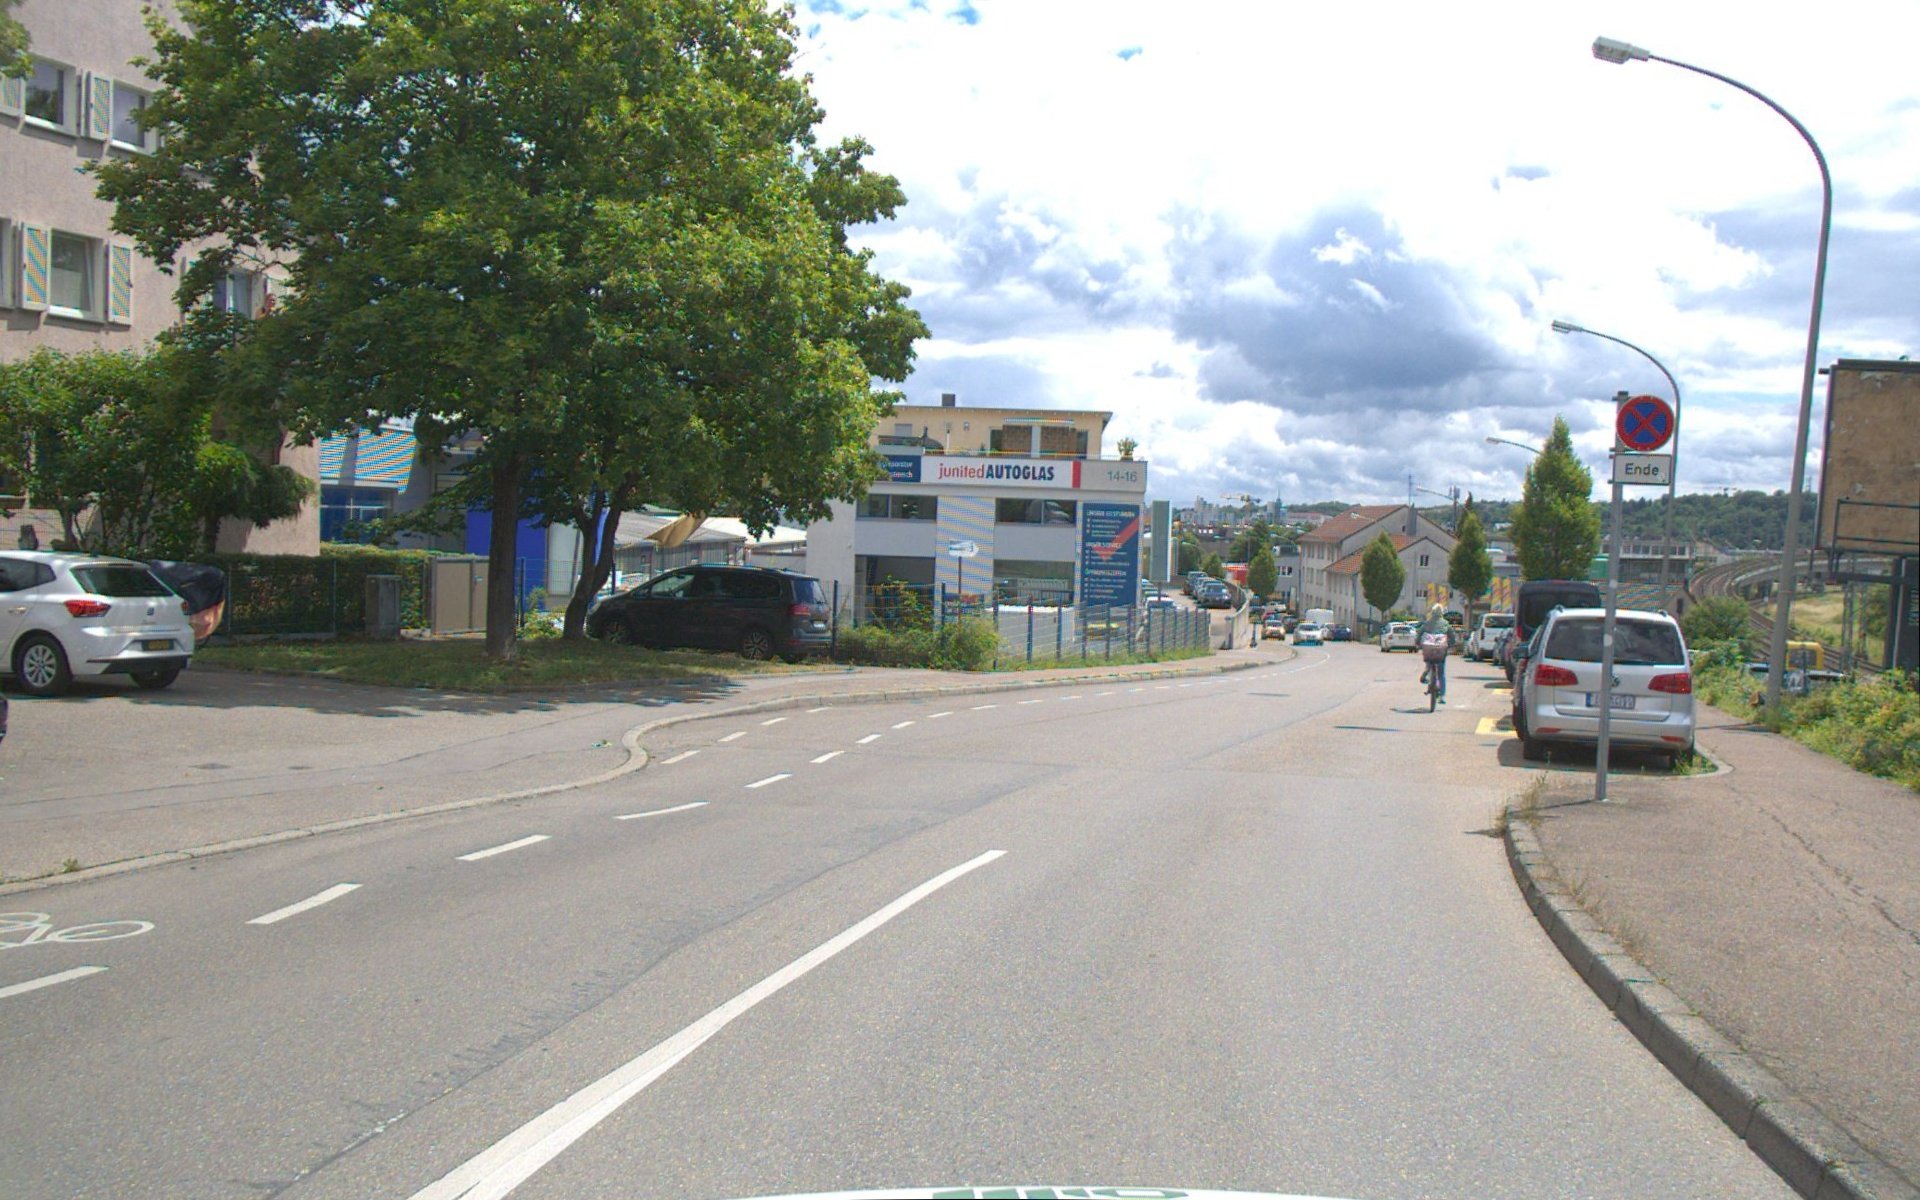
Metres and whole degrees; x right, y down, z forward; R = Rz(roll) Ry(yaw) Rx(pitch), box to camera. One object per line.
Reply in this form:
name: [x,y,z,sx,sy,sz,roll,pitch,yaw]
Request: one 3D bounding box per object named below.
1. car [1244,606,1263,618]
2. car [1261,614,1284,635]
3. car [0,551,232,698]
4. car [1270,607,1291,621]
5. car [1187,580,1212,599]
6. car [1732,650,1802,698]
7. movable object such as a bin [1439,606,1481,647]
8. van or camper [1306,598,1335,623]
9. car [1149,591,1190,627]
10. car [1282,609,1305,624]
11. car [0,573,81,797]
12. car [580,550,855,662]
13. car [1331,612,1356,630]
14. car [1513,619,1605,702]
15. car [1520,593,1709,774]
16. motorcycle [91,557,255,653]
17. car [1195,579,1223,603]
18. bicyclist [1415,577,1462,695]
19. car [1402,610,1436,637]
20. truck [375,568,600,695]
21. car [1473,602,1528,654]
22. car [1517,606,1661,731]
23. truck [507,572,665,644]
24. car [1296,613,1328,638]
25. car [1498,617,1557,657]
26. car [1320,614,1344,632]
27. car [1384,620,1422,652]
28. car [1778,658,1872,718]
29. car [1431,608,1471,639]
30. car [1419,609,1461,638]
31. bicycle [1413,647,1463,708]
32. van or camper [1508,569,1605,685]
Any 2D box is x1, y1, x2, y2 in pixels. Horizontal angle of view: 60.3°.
car: [35.563,1.489,200.364,1.951,1.445,4.002,0,0,6]
car: [24.573,1.932,130.173,1.672,1.601,4.003,0,0,9]
car: [-10.176,0.197,17.929,3.836,1.428,1.877,2,1,16]
car: [34.347,1.462,177.222,1.951,1.490,4.003,0,0,7]
car: [17.356,-0.747,119.923,1.635,1.347,3.720,0,0,5]
car: [28.150,2.559,57.800,1.652,1.532,3.880,0,-1,18]
movable object such as a bin: [29.161,1.514,96.531,2.089,2.343,2.560,0,-1,11]
van or camper: [32.477,0.951,148.951,1.952,2.048,4.003,4,1,5]
car: [10.093,0.424,79.830,1.808,1.679,4.002,0,0,5]
car: [33.444,1.668,166.119,1.951,1.490,4.003,0,0,7]
car: [-8.219,0.446,10.937,4.045,1.417,2.001,4,1,19]
car: [-4.515,0.121,30.965,4.601,1.746,2.000,4,-1,19]
car: [32.307,1.785,139.321,1.951,1.490,4.003,0,0,11]
car: [12.761,1.249,35.369,1.670,1.536,3.697,3,1,18]
car: [7.288,0.830,18.753,1.670,1.707,4.310,3,1,18]
motorcycle: [-11.852,0.072,25.000,0.898,1.338,2.237,3,1,17]
car: [15.327,-0.538,101.943,1.634,1.347,3.720,1,-1,7]
bicyclist: [7.731,0.571,26.717,0.670,1.858,1.081,0,-1,19]
car: [29.599,1.514,106.680,1.774,1.736,4.003,0,0,11]
truck: [-11.859,0.767,42.066,2.407,2.924,5.883,2,0,20]
car: [22.816,1.166,69.949,1.951,2.049,4.921,3,0,16]
car: [8.987,0.898,23.912,1.670,1.512,4.574,3,1,18]
truck: [-14.741,0.329,65.336,5.658,2.754,2.179,0,-1,6]
car: [23.475,1.702,110.410,1.666,1.589,4.331,1,0,7]
car: [21.704,1.402,63.370,1.862,1.467,3.546,0,0,15]
car: [32.416,2.001,144.132,1.951,1.490,4.003,0,0,11]
car: [23.805,1.898,88.942,1.951,1.646,4.003,0,0,15]
car: [24.896,2.485,47.692,1.755,1.532,3.880,0,-1,18]
car: [27.209,1.296,91.749,1.951,1.646,4.003,0,0,15]
car: [29.356,1.413,101.149,2.089,1.736,4.003,0,0,11]
bicycle: [7.750,1.237,26.768,0.673,0.893,2.102,0,-1,19]
van or camper: [14.927,0.654,41.629,2.080,2.630,5.919,2,0,19]
